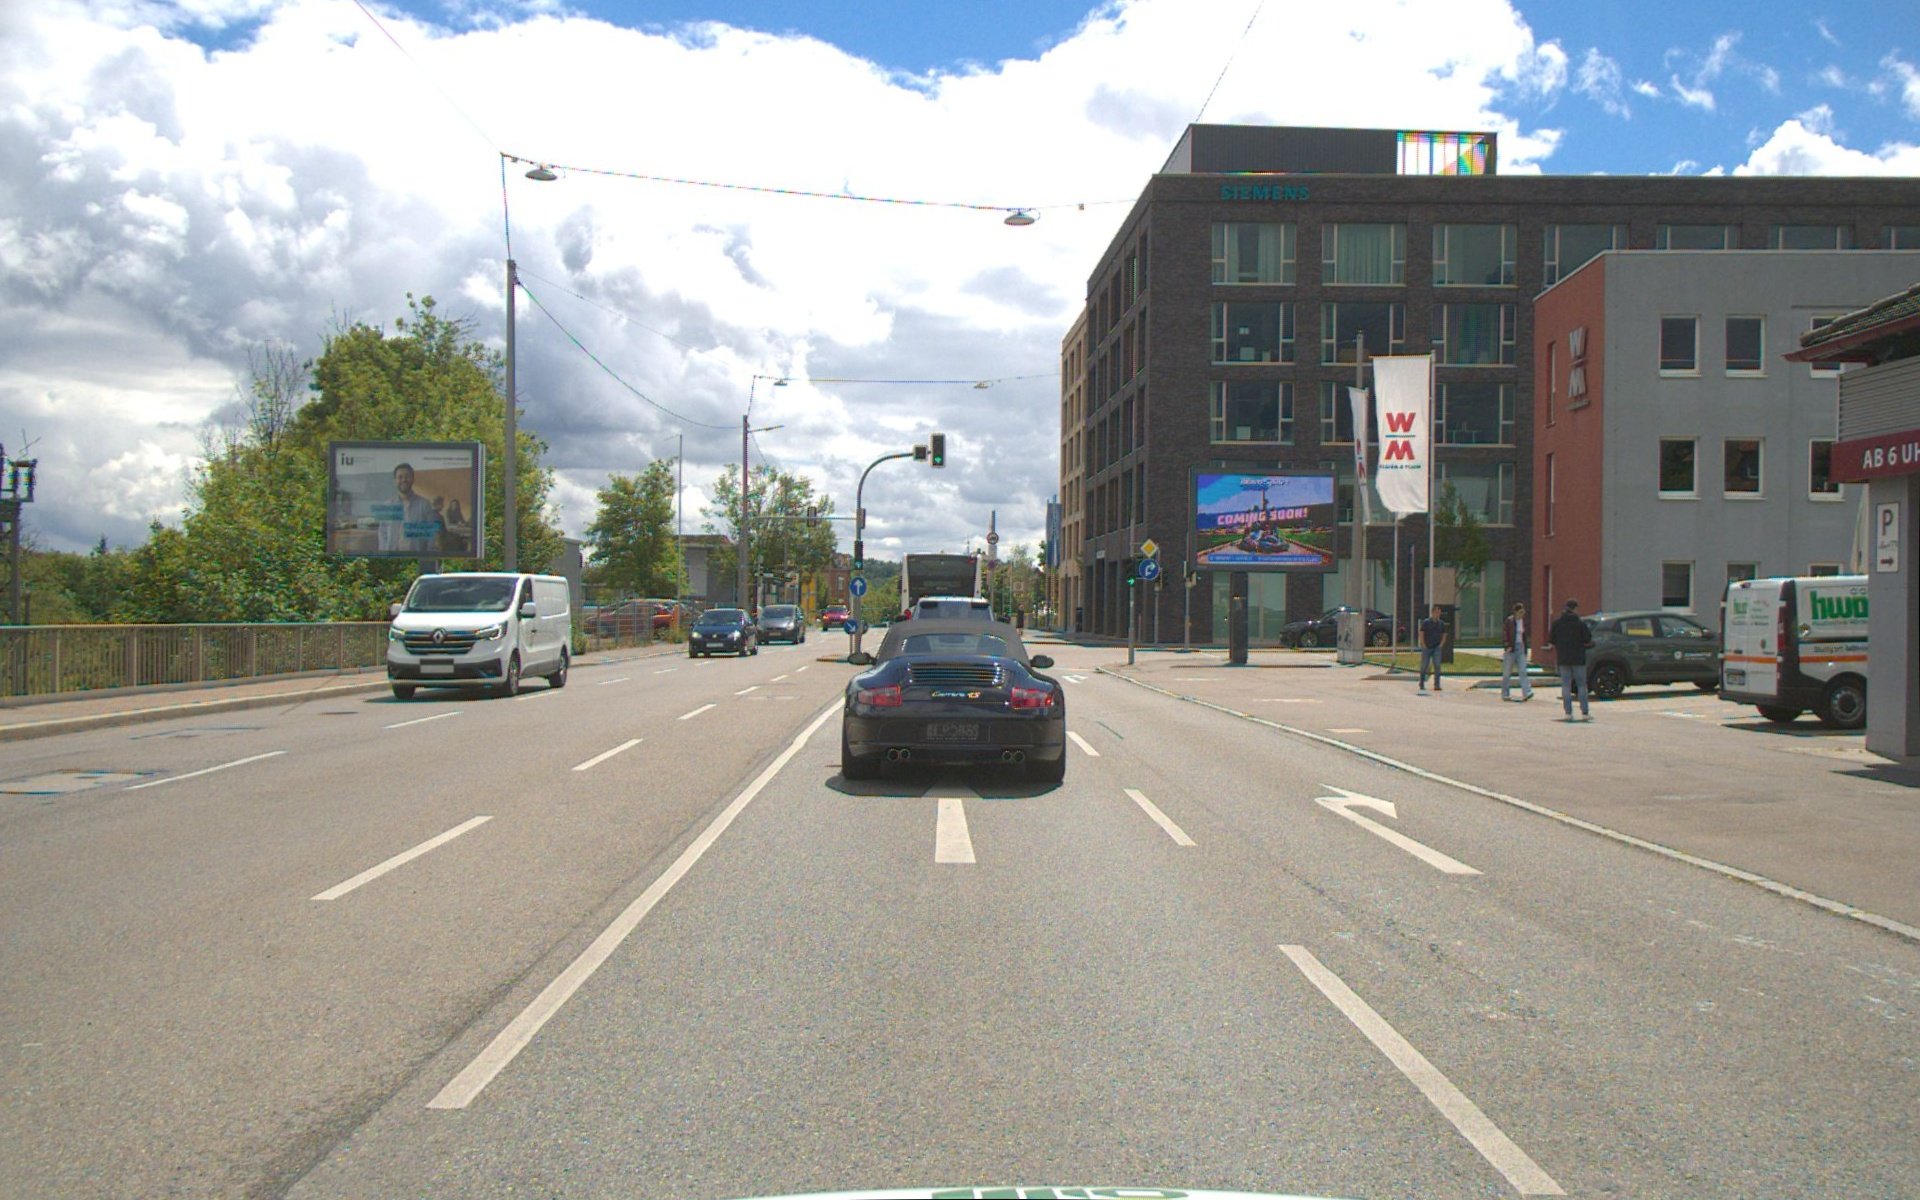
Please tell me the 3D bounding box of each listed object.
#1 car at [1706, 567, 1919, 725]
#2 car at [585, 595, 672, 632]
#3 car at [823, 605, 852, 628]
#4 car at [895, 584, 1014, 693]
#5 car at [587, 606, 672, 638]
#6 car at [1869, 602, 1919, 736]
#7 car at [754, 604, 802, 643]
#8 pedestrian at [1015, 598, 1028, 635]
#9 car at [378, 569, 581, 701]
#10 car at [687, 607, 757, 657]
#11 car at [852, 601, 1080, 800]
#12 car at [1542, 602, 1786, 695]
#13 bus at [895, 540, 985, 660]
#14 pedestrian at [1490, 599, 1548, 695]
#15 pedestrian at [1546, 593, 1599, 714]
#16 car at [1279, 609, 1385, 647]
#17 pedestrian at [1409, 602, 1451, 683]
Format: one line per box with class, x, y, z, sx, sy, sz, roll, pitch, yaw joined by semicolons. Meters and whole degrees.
car;12.631;0.559;22.356;4.144;1.970;2.029;-2;0;0
car;-14.553;0.597;72.772;3.722;1.574;1.664;1;0;-11
car;-7.927;1.031;107.435;1.629;1.440;3.802;1;0;-1
car;-0.169;0.627;29.671;1.842;1.621;4.227;2;2;-4
car;-13.867;0.911;69.560;3.448;1.286;1.386;1;0;-11
car;13.166;0.736;19.183;4.213;1.539;1.846;-2;-1;-1
car;-7.687;0.965;70.175;1.629;1.574;3.802;1;0;-1
pedestrian;3.432;0.890;91.853;0.653;2.049;0.769;1;0;-3
car;-7.753;0.516;27.266;1.863;1.920;5.311;-1;0;-1
car;-7.278;0.957;50.882;1.629;1.440;3.802;1;0;-1
car;-0.025;0.762;14.537;1.685;1.297;4.087;2;2;-2
car;12.847;0.863;30.322;3.683;1.466;1.719;-3;0;0
bus;-0.654;-0.205;56.860;2.634;3.311;12.061;2;3;0
pedestrian;10.299;0.858;30.517;0.693;1.726;0.924;1;0;-4
pedestrian;8.932;0.764;24.118;0.666;1.726;0.598;1;0;24
car;14.687;1.104;65.416;3.850;1.456;1.473;1;0;-1
pedestrian;9.947;0.881;35.013;0.657;1.690;0.742;1;0;-3
